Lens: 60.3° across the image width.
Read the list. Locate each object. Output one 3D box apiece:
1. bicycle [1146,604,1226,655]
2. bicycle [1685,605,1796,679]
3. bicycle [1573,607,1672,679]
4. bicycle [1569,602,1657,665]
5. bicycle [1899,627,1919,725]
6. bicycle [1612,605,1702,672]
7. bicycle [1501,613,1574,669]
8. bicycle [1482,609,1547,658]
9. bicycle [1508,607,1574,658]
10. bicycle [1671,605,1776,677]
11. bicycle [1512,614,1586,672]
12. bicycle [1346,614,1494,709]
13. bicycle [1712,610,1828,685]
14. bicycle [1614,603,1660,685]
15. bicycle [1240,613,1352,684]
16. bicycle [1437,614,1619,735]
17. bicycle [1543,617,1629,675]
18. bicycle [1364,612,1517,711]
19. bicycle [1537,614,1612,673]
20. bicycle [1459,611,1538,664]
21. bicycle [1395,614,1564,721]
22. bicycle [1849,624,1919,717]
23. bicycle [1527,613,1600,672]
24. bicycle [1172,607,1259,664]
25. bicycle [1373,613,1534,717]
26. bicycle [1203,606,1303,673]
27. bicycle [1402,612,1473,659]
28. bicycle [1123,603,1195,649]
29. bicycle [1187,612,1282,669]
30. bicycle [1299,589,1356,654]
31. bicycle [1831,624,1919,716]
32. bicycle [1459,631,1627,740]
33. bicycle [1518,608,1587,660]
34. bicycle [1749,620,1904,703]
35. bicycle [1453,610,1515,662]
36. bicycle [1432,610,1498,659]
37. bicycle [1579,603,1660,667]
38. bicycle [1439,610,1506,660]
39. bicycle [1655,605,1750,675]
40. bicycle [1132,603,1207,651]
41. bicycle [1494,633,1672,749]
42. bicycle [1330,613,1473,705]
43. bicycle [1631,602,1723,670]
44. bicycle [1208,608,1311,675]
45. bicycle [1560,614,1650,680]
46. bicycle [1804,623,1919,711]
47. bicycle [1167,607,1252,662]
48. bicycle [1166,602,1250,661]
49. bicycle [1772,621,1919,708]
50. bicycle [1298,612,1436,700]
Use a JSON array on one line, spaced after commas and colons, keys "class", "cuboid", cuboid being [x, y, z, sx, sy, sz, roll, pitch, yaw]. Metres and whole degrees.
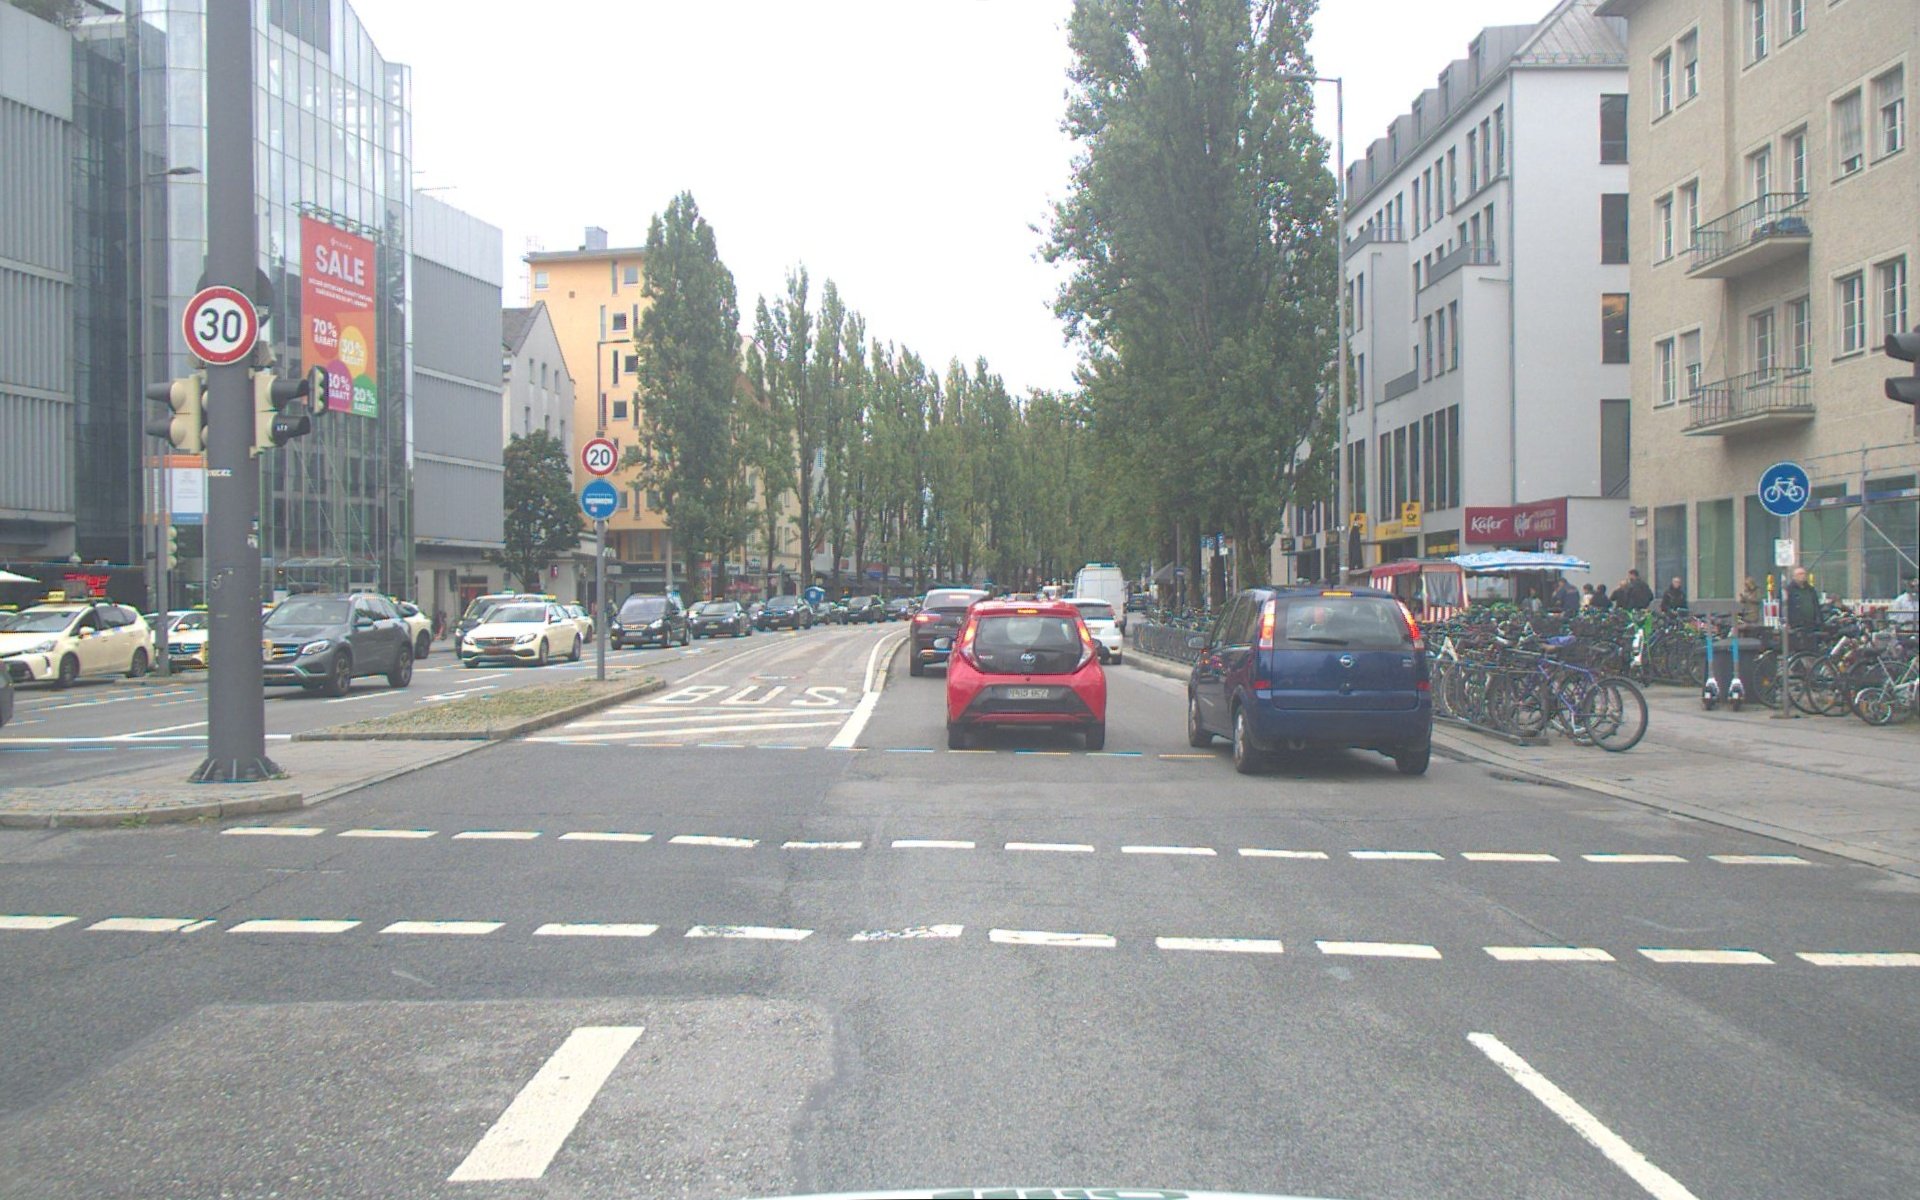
[{"class": "bicycle", "cuboid": [5.284, 0.676, 38.743, 1.801, 1.156, 0.584, 0, 0, 35]}, {"class": "bicycle", "cuboid": [12.055, 0.647, 25.546, 1.520, 1.094, 0.451, -1, 0, -5]}, {"class": "bicycle", "cuboid": [10.416, 0.676, 26.005, 1.389, 1.096, 0.369, -1, 0, 0]}, {"class": "bicycle", "cuboid": [11.748, 0.604, 29.772, 1.472, 1.094, 0.369, -1, 0, -7]}, {"class": "bicycle", "cuboid": [10.654, 0.763, 16.936, 1.801, 0.981, 0.508, -1, 0, -3]}, {"class": "bicycle", "cuboid": [11.784, 0.645, 27.972, 1.399, 1.094, 0.369, -1, 0, -7]}, {"class": "bicycle", "cuboid": [10.309, 0.729, 29.530, 1.157, 0.980, 0.369, -1, 0, -3]}, {"class": "bicycle", "cuboid": [11.571, 0.698, 34.521, 1.219, 0.998, 0.369, -1, 0, -3]}, {"class": "bicycle", "cuboid": [11.704, 0.647, 33.345, 1.221, 0.998, 0.368, -1, 0, -10]}, {"class": "bicycle", "cuboid": [12.033, 0.642, 26.074, 1.521, 1.094, 0.369, -1, 0, -7]}, {"class": "bicycle", "cuboid": [10.320, 0.750, 28.987, 1.156, 0.980, 0.369, -1, 0, 3]}, {"class": "bicycle", "cuboid": [5.893, 0.770, 21.217, 1.765, 1.178, 0.486, 0, 0, 29]}, {"class": "bicycle", "cuboid": [12.192, 0.710, 24.918, 1.518, 1.094, 0.451, -1, 0, 1]}, {"class": "bicycle", "cuboid": [10.220, 0.647, 24.947, 0.361, 1.161, 1.719, -1, 0, 31]}, {"class": "bicycle", "cuboid": [5.545, 0.780, 27.382, 1.772, 1.130, 0.559, 0, 0, 41]}, {"class": "bicycle", "cuboid": [6.046, 0.762, 17.673, 1.773, 1.219, 0.555, 0, 0, 43]}, {"class": "bicycle", "cuboid": [10.278, 0.753, 27.164, 1.266, 0.931, 0.369, -1, 0, 0]}, {"class": "bicycle", "cuboid": [5.968, 0.751, 20.557, 1.763, 1.178, 0.486, 0, 0, 25]}, {"class": "bicycle", "cuboid": [10.358, 0.733, 27.898, 1.110, 0.980, 0.369, -1, 0, 5]}, {"class": "bicycle", "cuboid": [10.195, 0.705, 31.328, 1.375, 0.980, 0.369, -1, 0, -6]}, {"class": "bicycle", "cuboid": [5.972, 0.754, 19.065, 1.769, 1.178, 0.546, 0, 0, 37]}, {"class": "bicycle", "cuboid": [10.655, 0.754, 18.014, 1.719, 0.981, 0.453, -1, 0, -3]}, {"class": "bicycle", "cuboid": [10.336, 0.731, 28.337, 1.110, 0.980, 0.369, -1, 0, 5]}, {"class": "bicycle", "cuboid": [5.412, 0.736, 35.057, 1.805, 1.156, 0.583, 0, 0, 42]}, {"class": "bicycle", "cuboid": [5.875, 0.750, 19.746, 1.769, 1.178, 0.546, 0, 0, 37]}, {"class": "bicycle", "cuboid": [5.464, 0.719, 30.918, 1.805, 1.218, 0.583, 0, 0, 42]}, {"class": "bicycle", "cuboid": [10.187, 0.759, 35.325, 1.401, 0.980, 0.369, -1, 0, 5]}, {"class": "bicycle", "cuboid": [5.153, 0.662, 42.938, 1.801, 1.156, 0.584, 0, 0, 35]}, {"class": "bicycle", "cuboid": [5.362, 0.786, 32.324, 1.805, 1.070, 0.583, 0, 0, 42]}, {"class": "bicycle", "cuboid": [7.532, 0.418, 34.019, 0.601, 1.287, 2.519, -1, 0, 0]}, {"class": "bicycle", "cuboid": [10.722, 0.771, 18.520, 1.719, 0.981, 0.453, -1, 0, -3]}, {"class": "bicycle", "cuboid": [5.975, 0.857, 17.012, 0.495, 1.046, 1.576, -1, 0, -43]}, {"class": "bicycle", "cuboid": [11.549, 0.658, 32.247, 1.219, 0.998, 0.369, -1, 0, -4]}, {"class": "bicycle", "cuboid": [10.693, 0.757, 20.434, 1.718, 0.981, 0.369, -1, 0, 0]}, {"class": "bicycle", "cuboid": [10.312, 0.700, 32.549, 1.208, 0.980, 0.367, -1, 0, -23]}, {"class": "bicycle", "cuboid": [10.323, 0.702, 33.837, 1.235, 0.980, 0.369, -1, 0, 2]}, {"class": "bicycle", "cuboid": [11.599, 0.607, 29.084, 1.303, 1.094, 0.369, -1, 0, -7]}, {"class": "bicycle", "cuboid": [10.335, 0.708, 33.355, 1.234, 0.980, 0.369, -1, 0, 9]}, {"class": "bicycle", "cuboid": [11.938, 0.641, 26.592, 1.399, 1.094, 0.369, -1, 0, -7]}, {"class": "bicycle", "cuboid": [5.255, 0.668, 41.472, 1.801, 1.156, 0.584, 0, 0, 35]}, {"class": "bicycle", "cuboid": [6.060, 0.863, 16.157, 0.495, 1.046, 1.576, -1, 0, -43]}, {"class": "bicycle", "cuboid": [5.828, 0.765, 21.871, 1.765, 1.178, 0.486, 0, 0, 30]}, {"class": "bicycle", "cuboid": [11.865, 0.592, 27.380, 1.399, 1.094, 0.369, -1, 0, -7]}, {"class": "bicycle", "cuboid": [5.447, 0.739, 30.136, 1.805, 1.188, 0.583, 0, 0, 42]}, {"class": "bicycle", "cuboid": [10.329, 0.749, 26.509, 1.287, 1.017, 0.369, -1, 0, 0]}, {"class": "bicycle", "cuboid": [10.763, 0.768, 19.183, 1.719, 0.981, 0.453, -1, 0, -3]}, {"class": "bicycle", "cuboid": [5.385, 0.741, 35.818, 1.805, 1.156, 0.583, 0, 0, 42]}, {"class": "bicycle", "cuboid": [5.467, 0.688, 36.486, 1.805, 1.263, 0.583, 0, 0, 42]}, {"class": "bicycle", "cuboid": [10.666, 0.764, 19.741, 1.718, 0.981, 0.453, -1, 0, 0]}, {"class": "bicycle", "cuboid": [5.705, 0.770, 23.246, 1.768, 1.178, 0.650, 0, 0, 35]}]
